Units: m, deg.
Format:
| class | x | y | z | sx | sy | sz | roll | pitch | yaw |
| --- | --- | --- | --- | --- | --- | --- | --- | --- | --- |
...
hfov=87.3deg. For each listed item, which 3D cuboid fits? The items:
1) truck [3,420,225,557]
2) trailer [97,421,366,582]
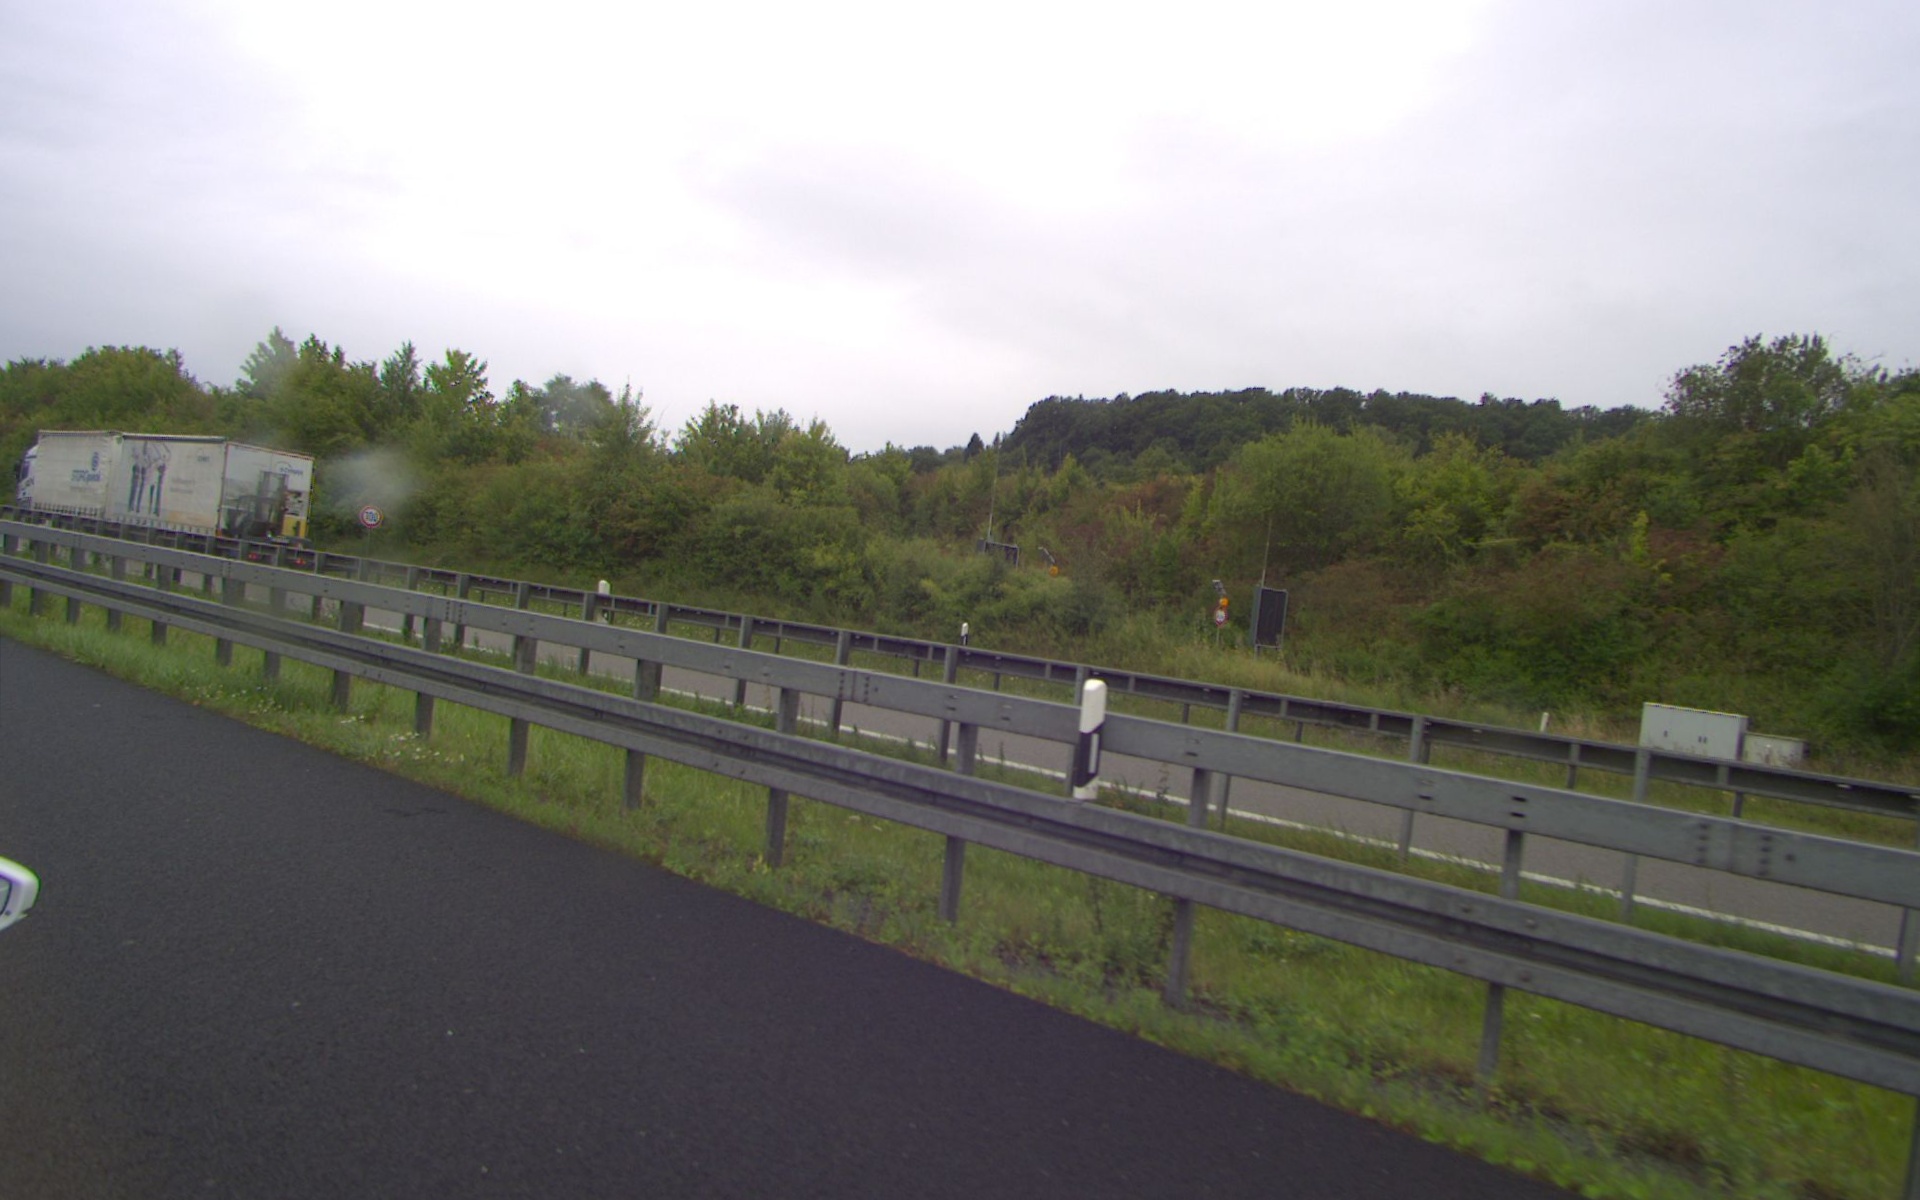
| class | x | y | z | sx | sy | sz | roll | pitch | yaw |
| --- | --- | --- | --- | --- | --- | --- | --- | --- | --- |
| truck | -33.071 | -4.415 | 39.140 | 10.248 | 4.341 | 3.441 | 7 | -1 | 33 |
| trailer | -24.480 | -3.383 | 33.545 | 10.283 | 4.341 | 3.441 | 7 | -1 | 33 |
